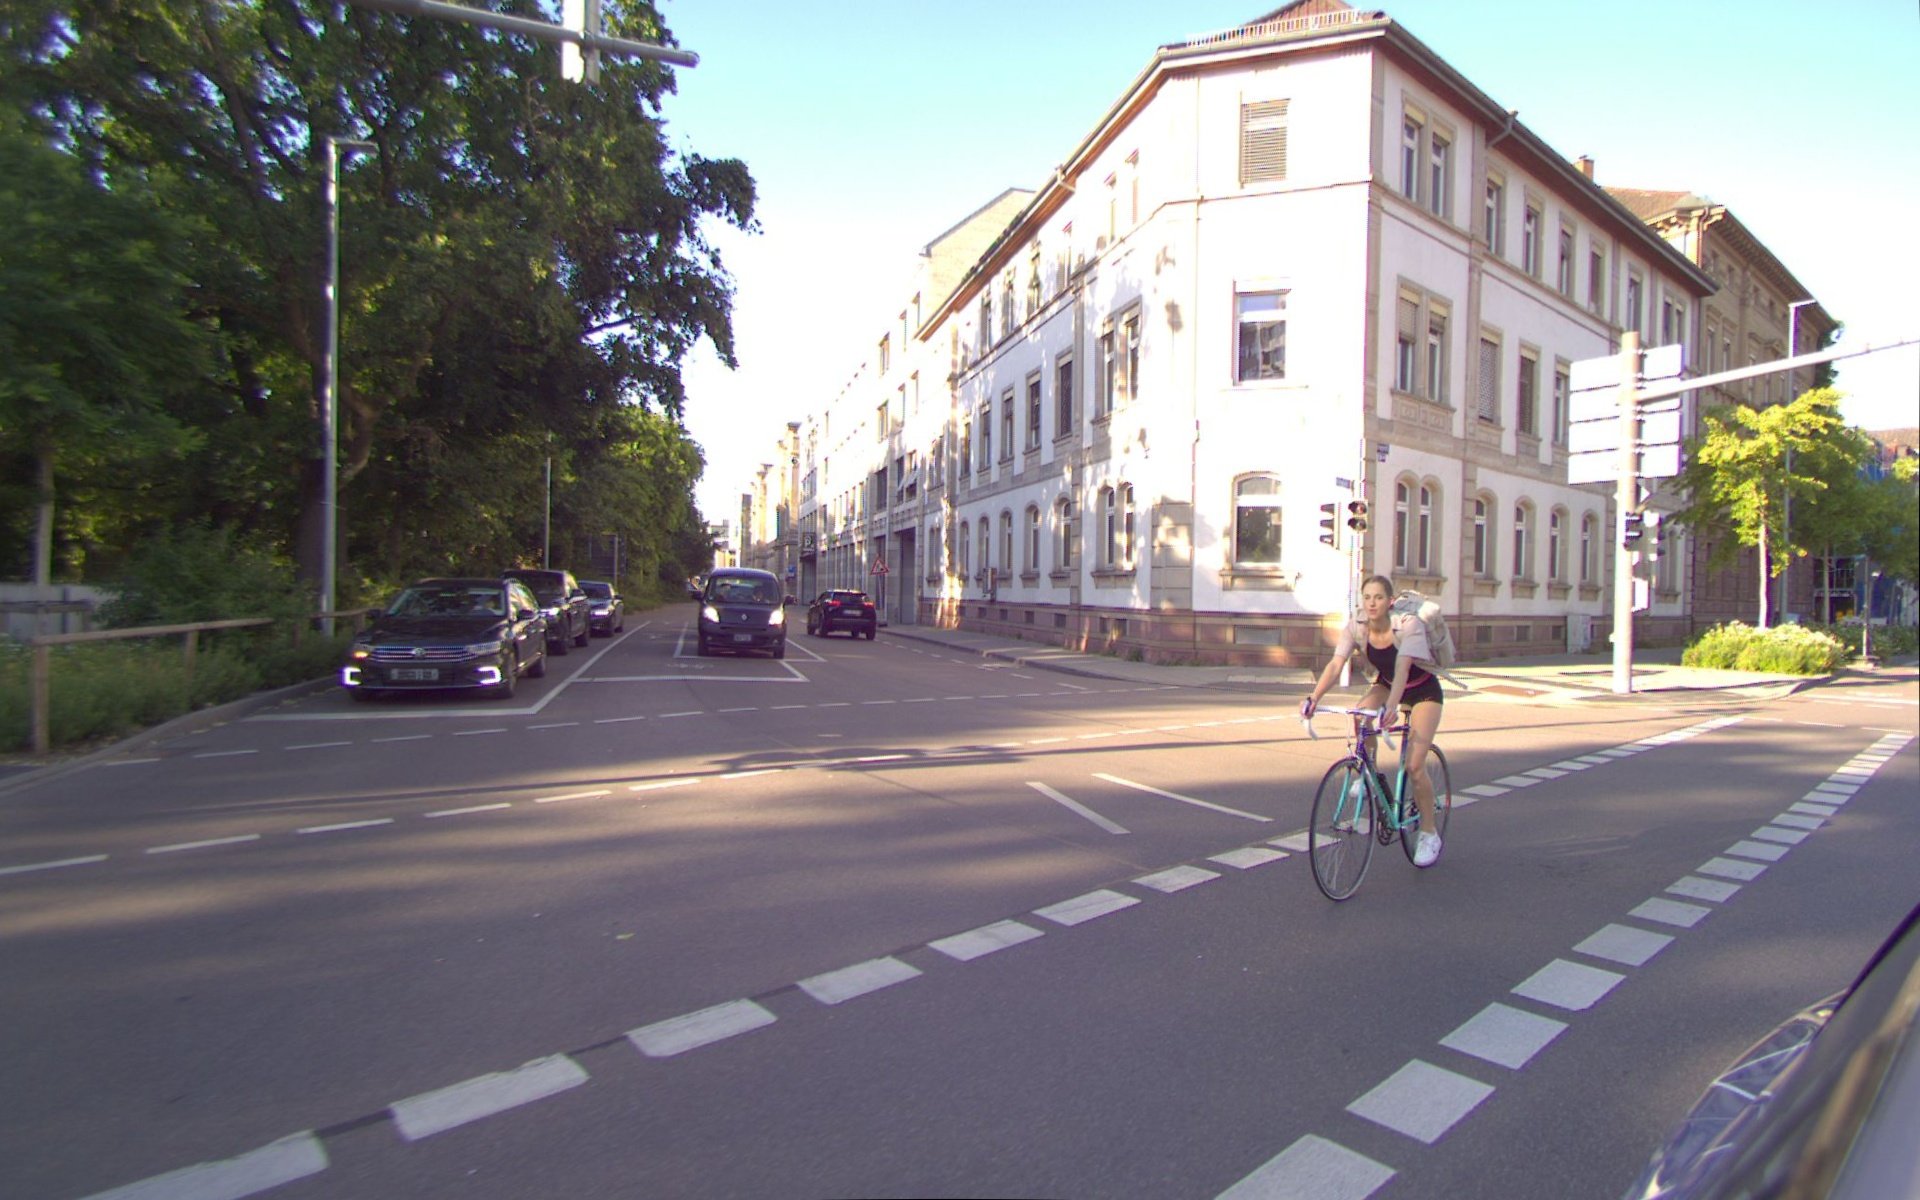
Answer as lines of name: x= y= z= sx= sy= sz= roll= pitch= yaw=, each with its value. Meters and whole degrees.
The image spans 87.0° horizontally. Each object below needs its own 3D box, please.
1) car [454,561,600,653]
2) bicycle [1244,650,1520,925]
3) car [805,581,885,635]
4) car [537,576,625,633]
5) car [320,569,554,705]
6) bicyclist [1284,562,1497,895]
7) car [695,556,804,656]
car: x=-8.700 y=0.071 z=20.727 sx=1.863 sy=1.673 sz=4.547 roll=0 pitch=1 yaw=-11
bicycle: x=2.200 y=0.847 z=5.151 sx=1.810 sy=1.111 sz=0.521 roll=1 pitch=0 yaw=-41
car: x=-3.796 y=0.231 z=32.725 sx=1.863 sy=1.547 sz=4.067 roll=3 pitch=0 yaw=-16
car: x=-10.176 y=0.065 z=27.438 sx=1.863 sy=1.399 sz=4.245 roll=0 pitch=1 yaw=-15
car: x=-6.722 y=0.349 z=13.559 sx=1.863 sy=1.492 sz=4.612 roll=0 pitch=1 yaw=-15
bicyclist: x=2.201 y=0.581 z=5.142 sx=1.062 sy=1.510 sz=0.553 roll=1 pitch=0 yaw=-40
car: x=-4.538 y=0.086 z=21.342 sx=1.908 sy=1.827 sz=4.257 roll=3 pitch=0 yaw=-15
